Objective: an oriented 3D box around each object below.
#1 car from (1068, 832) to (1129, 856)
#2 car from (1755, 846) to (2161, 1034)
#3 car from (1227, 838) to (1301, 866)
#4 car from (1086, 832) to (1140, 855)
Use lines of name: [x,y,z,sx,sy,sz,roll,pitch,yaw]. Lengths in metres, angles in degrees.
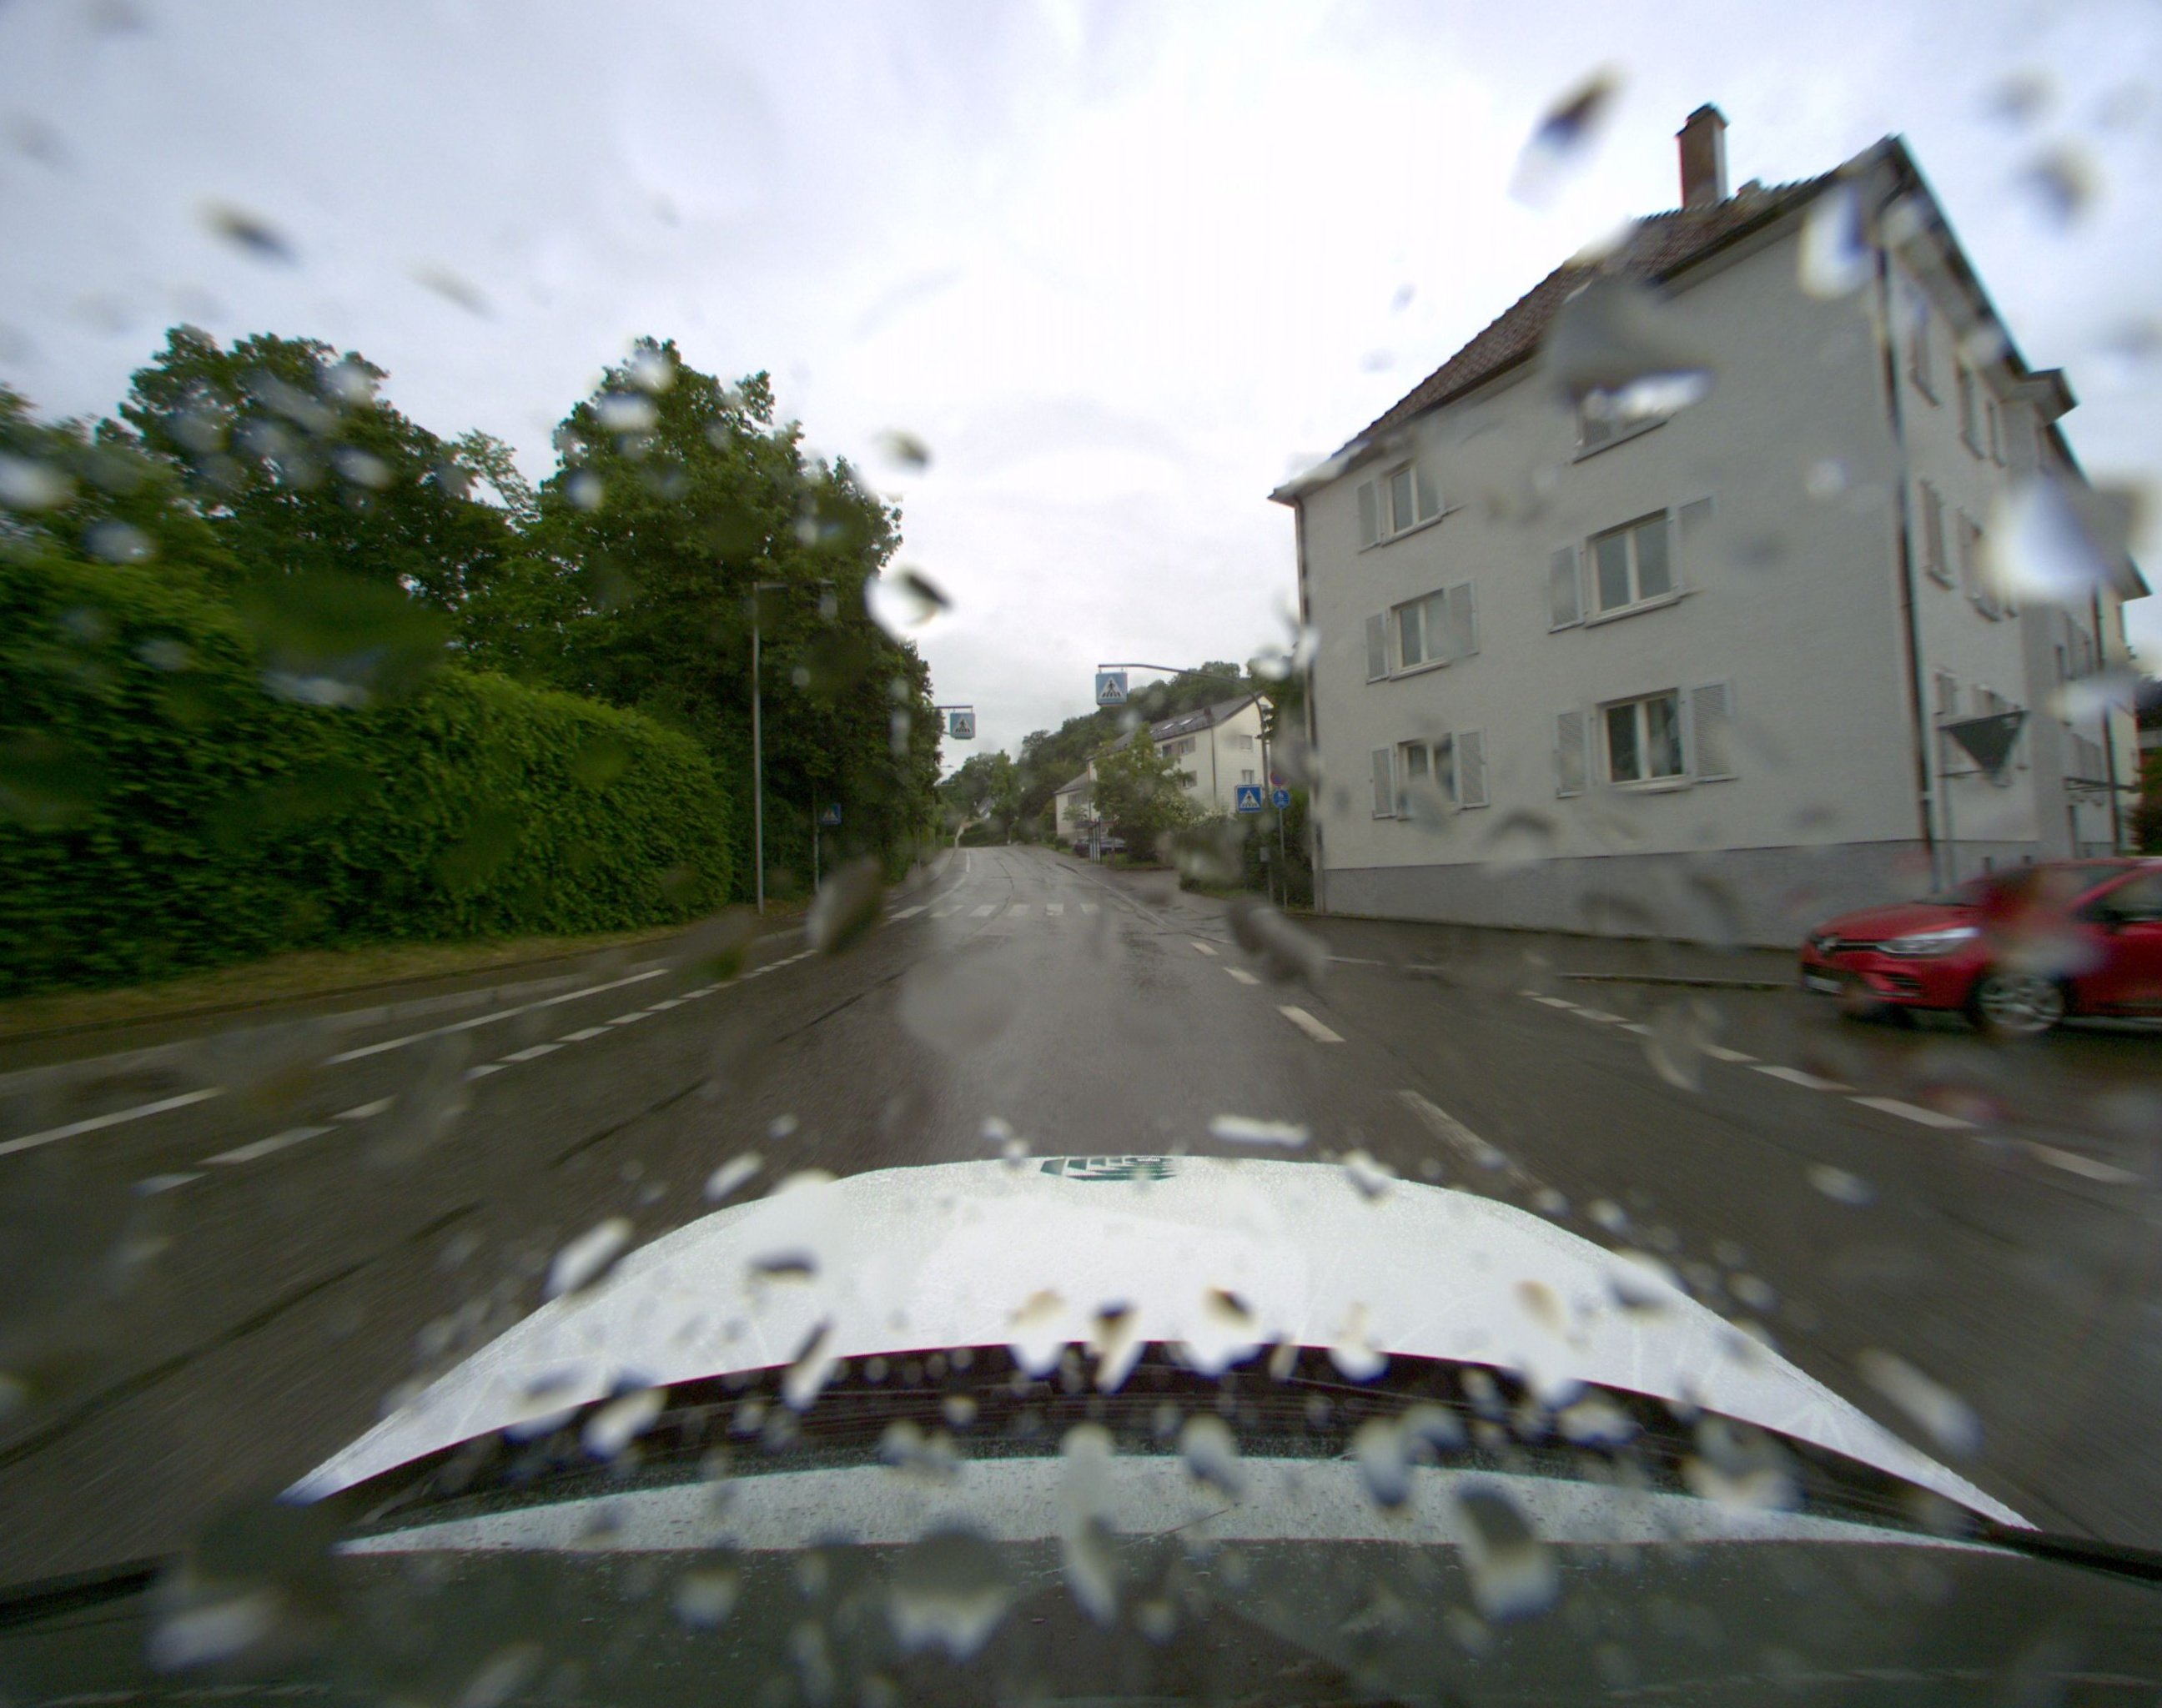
car: [1.376,-0.835,65.266,4.533,1.660,1.847,-3,3,-15]
car: [8.607,0.652,6.953,4.051,1.407,1.731,1,1,14]
car: [10.342,-0.095,46.112,3.697,1.431,1.791,-1,-1,-8]
car: [2.341,-0.796,60.200,3.743,1.458,1.719,-2,3,-10]
